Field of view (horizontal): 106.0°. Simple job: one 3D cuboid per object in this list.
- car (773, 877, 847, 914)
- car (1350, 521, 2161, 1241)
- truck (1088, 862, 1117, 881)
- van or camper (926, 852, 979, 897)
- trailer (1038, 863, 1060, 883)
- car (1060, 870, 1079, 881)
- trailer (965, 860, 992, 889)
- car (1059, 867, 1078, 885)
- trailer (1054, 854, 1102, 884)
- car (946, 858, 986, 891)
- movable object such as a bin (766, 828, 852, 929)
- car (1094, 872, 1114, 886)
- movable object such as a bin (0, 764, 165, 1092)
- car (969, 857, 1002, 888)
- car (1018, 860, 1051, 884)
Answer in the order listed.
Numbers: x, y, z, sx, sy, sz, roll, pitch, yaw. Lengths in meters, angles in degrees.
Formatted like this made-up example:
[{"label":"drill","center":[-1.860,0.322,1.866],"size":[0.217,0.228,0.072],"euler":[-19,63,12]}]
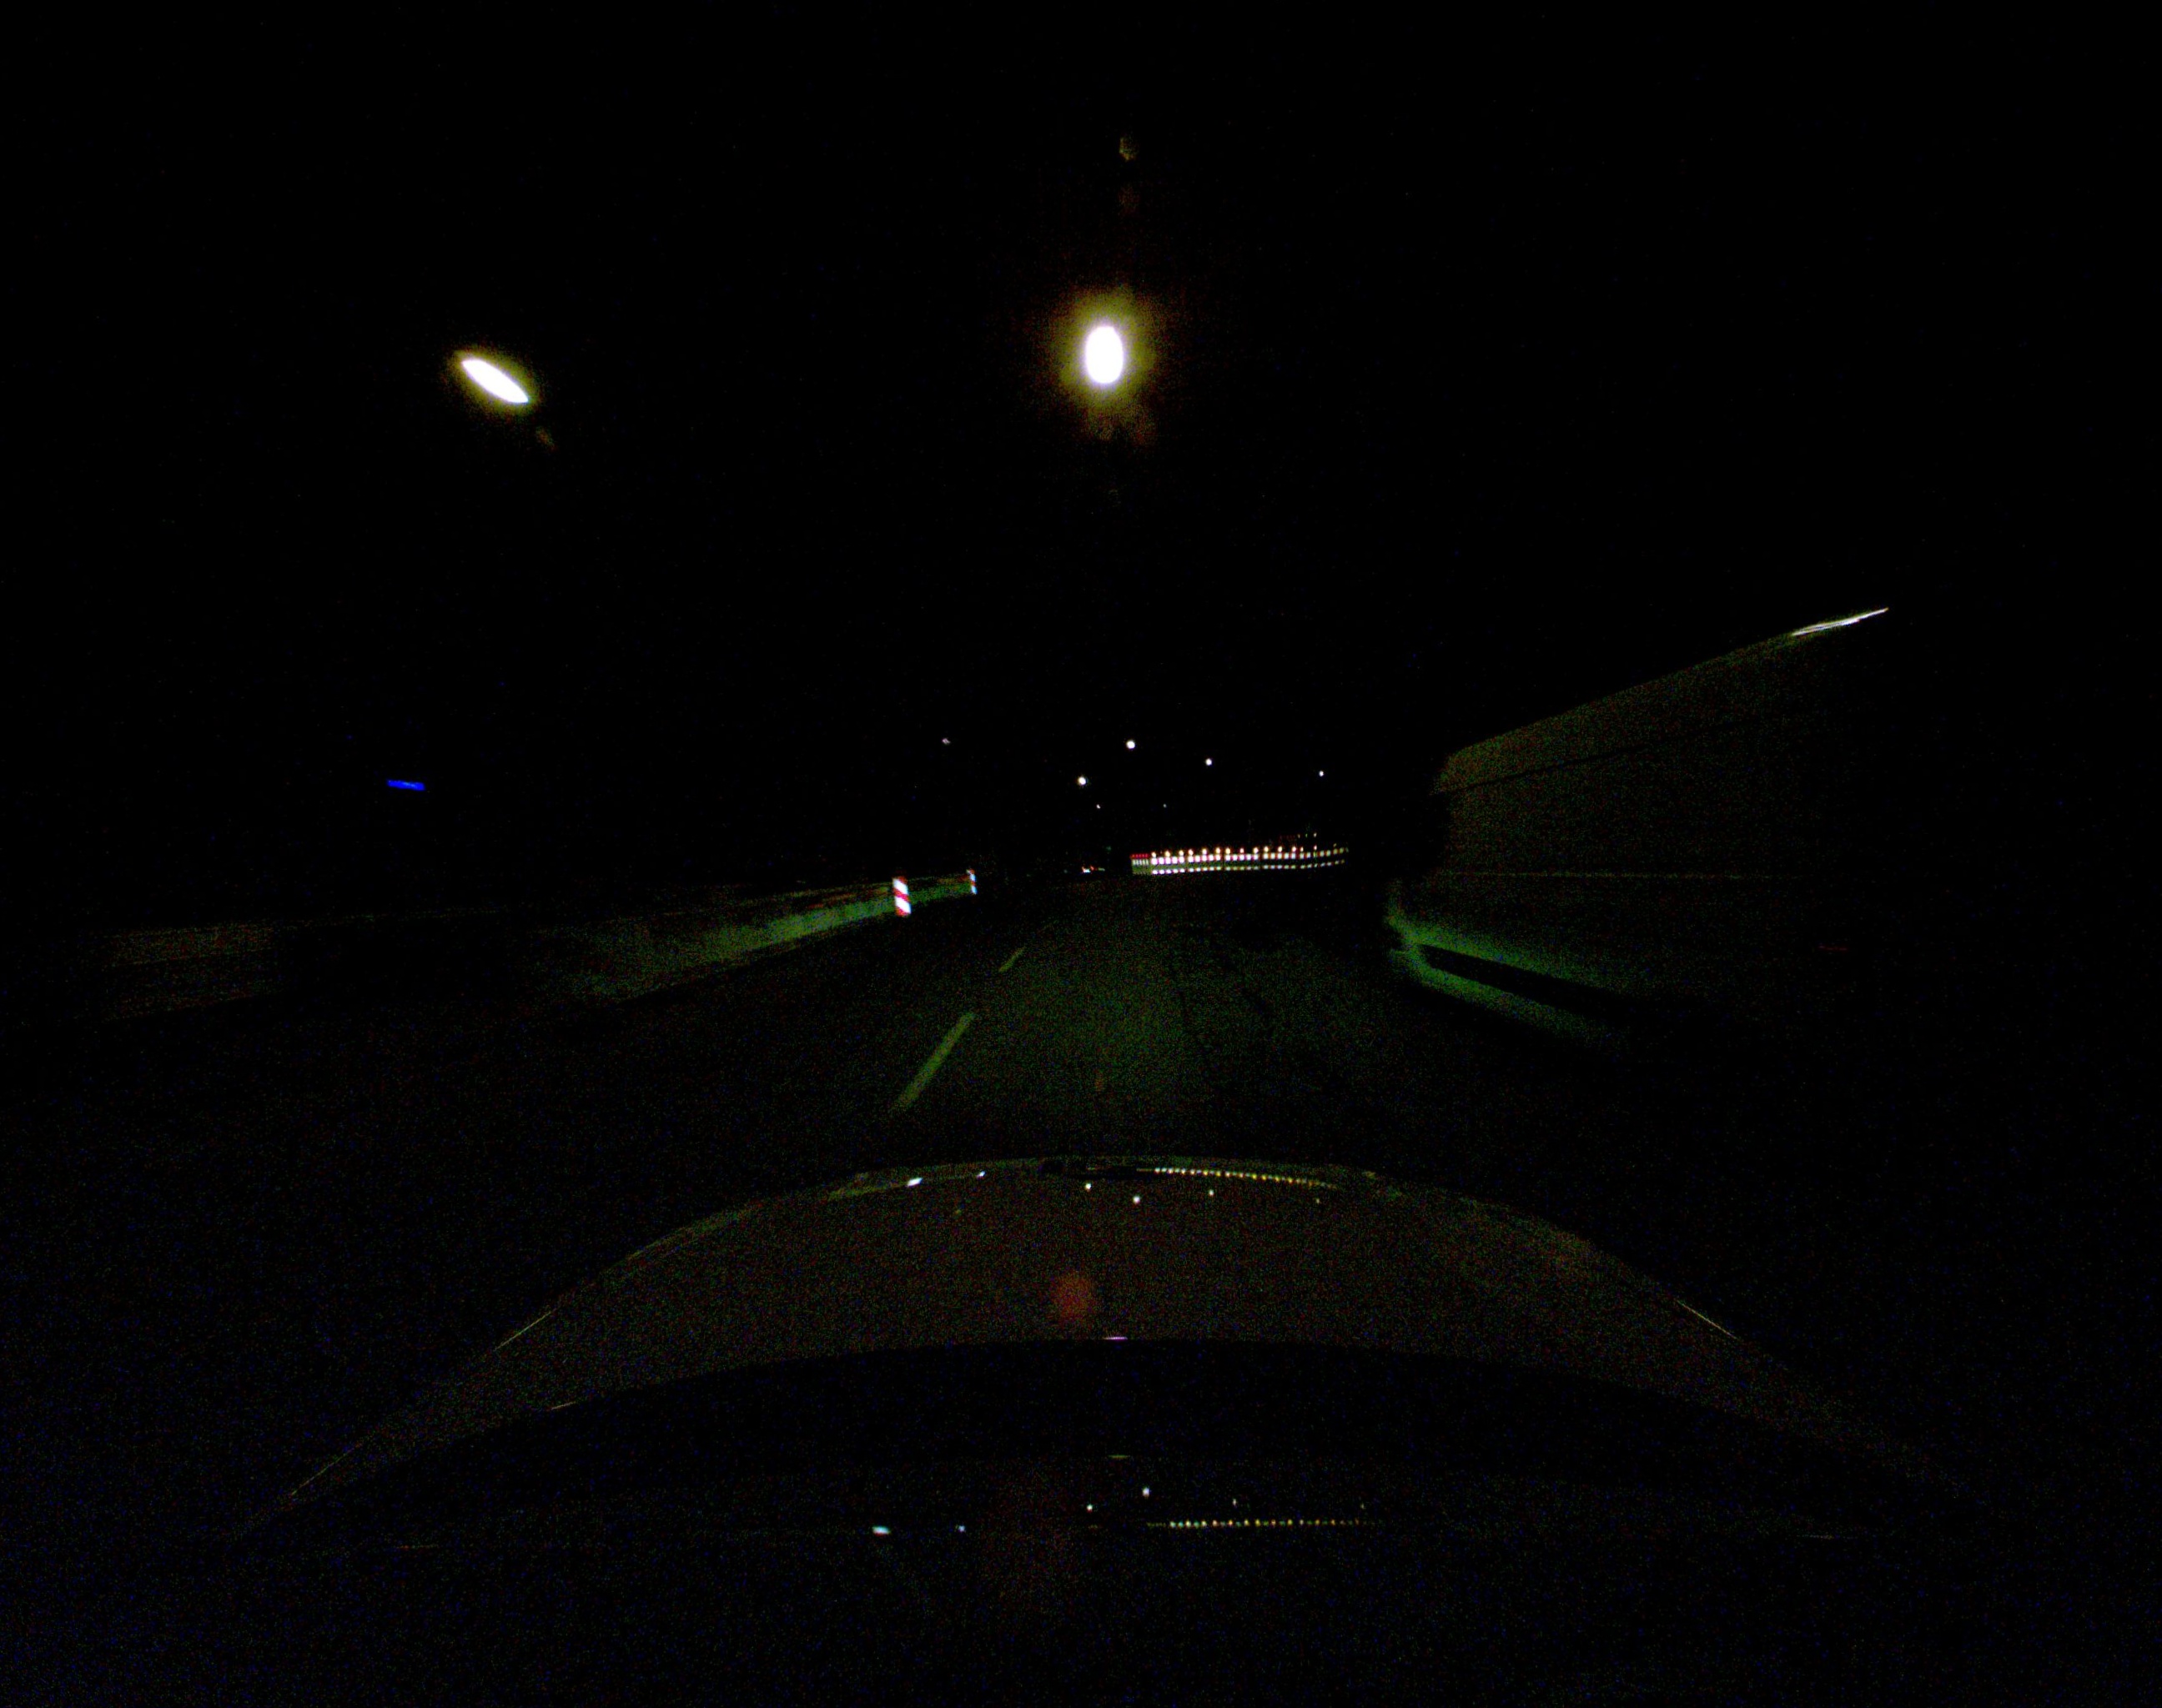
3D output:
[{"label":"car","center":[-23.395,3.533,70.653],"size":[1.975,2.842,6.718],"euler":[-2,0,24]},{"label":"car","center":[3.995,0.098,6.044],"size":[2.100,2.516,6.375],"euler":[-1,0,3]},{"label":"truck","center":[4.024,3.199,151.083],"size":[1.976,3.404,9.029],"euler":[-2,0,24]},{"label":"van or camper","center":[-9.732,1.546,62.447],"size":[2.510,3.094,7.446],"euler":[-4,-1,1]},{"label":"trailer","center":[-4.754,2.870,122.079],"size":[1.979,2.813,4.721],"euler":[-3,-1,15]},{"label":"car","center":[-1.802,3.516,133.177],"size":[1.979,1.700,4.223],"euler":[-2,-2,15]},{"label":"trailer","center":[-9.832,1.951,78.316],"size":[1.987,2.527,3.567],"euler":[-4,-1,0]},{"label":"car","center":[-1.222,2.155,80.440],"size":[1.715,1.661,3.999],"euler":[-1,-2,1]},{"label":"trailer","center":[-0.274,1.238,65.666],"size":[1.568,2.161,5.174],"euler":[-3,-2,-27]},{"label":"car","center":[-10.031,1.835,71.797],"size":[2.512,2.606,7.086],"euler":[-4,-1,-1]},{"label":"movable object such as a bin","center":[-8.201,0.706,24.870],"size":[1.569,2.734,3.692],"euler":[-5,0,-7]},{"label":"car","center":[3.077,3.351,108.886],"size":[1.708,1.821,4.016],"euler":[-2,-2,15]},{"label":"movable object such as a bin","center":[-8.984,0.598,6.144],"size":[1.554,2.467,2.819],"euler":[-3,-1,-21]},{"label":"car","center":[-9.978,1.955,85.582],"size":[2.512,2.927,7.196],"euler":[-4,-1,-1]},{"label":"car","center":[-6.523,2.483,115.578],"size":[2.501,3.171,7.164],"euler":[-4,-1,14]}]
